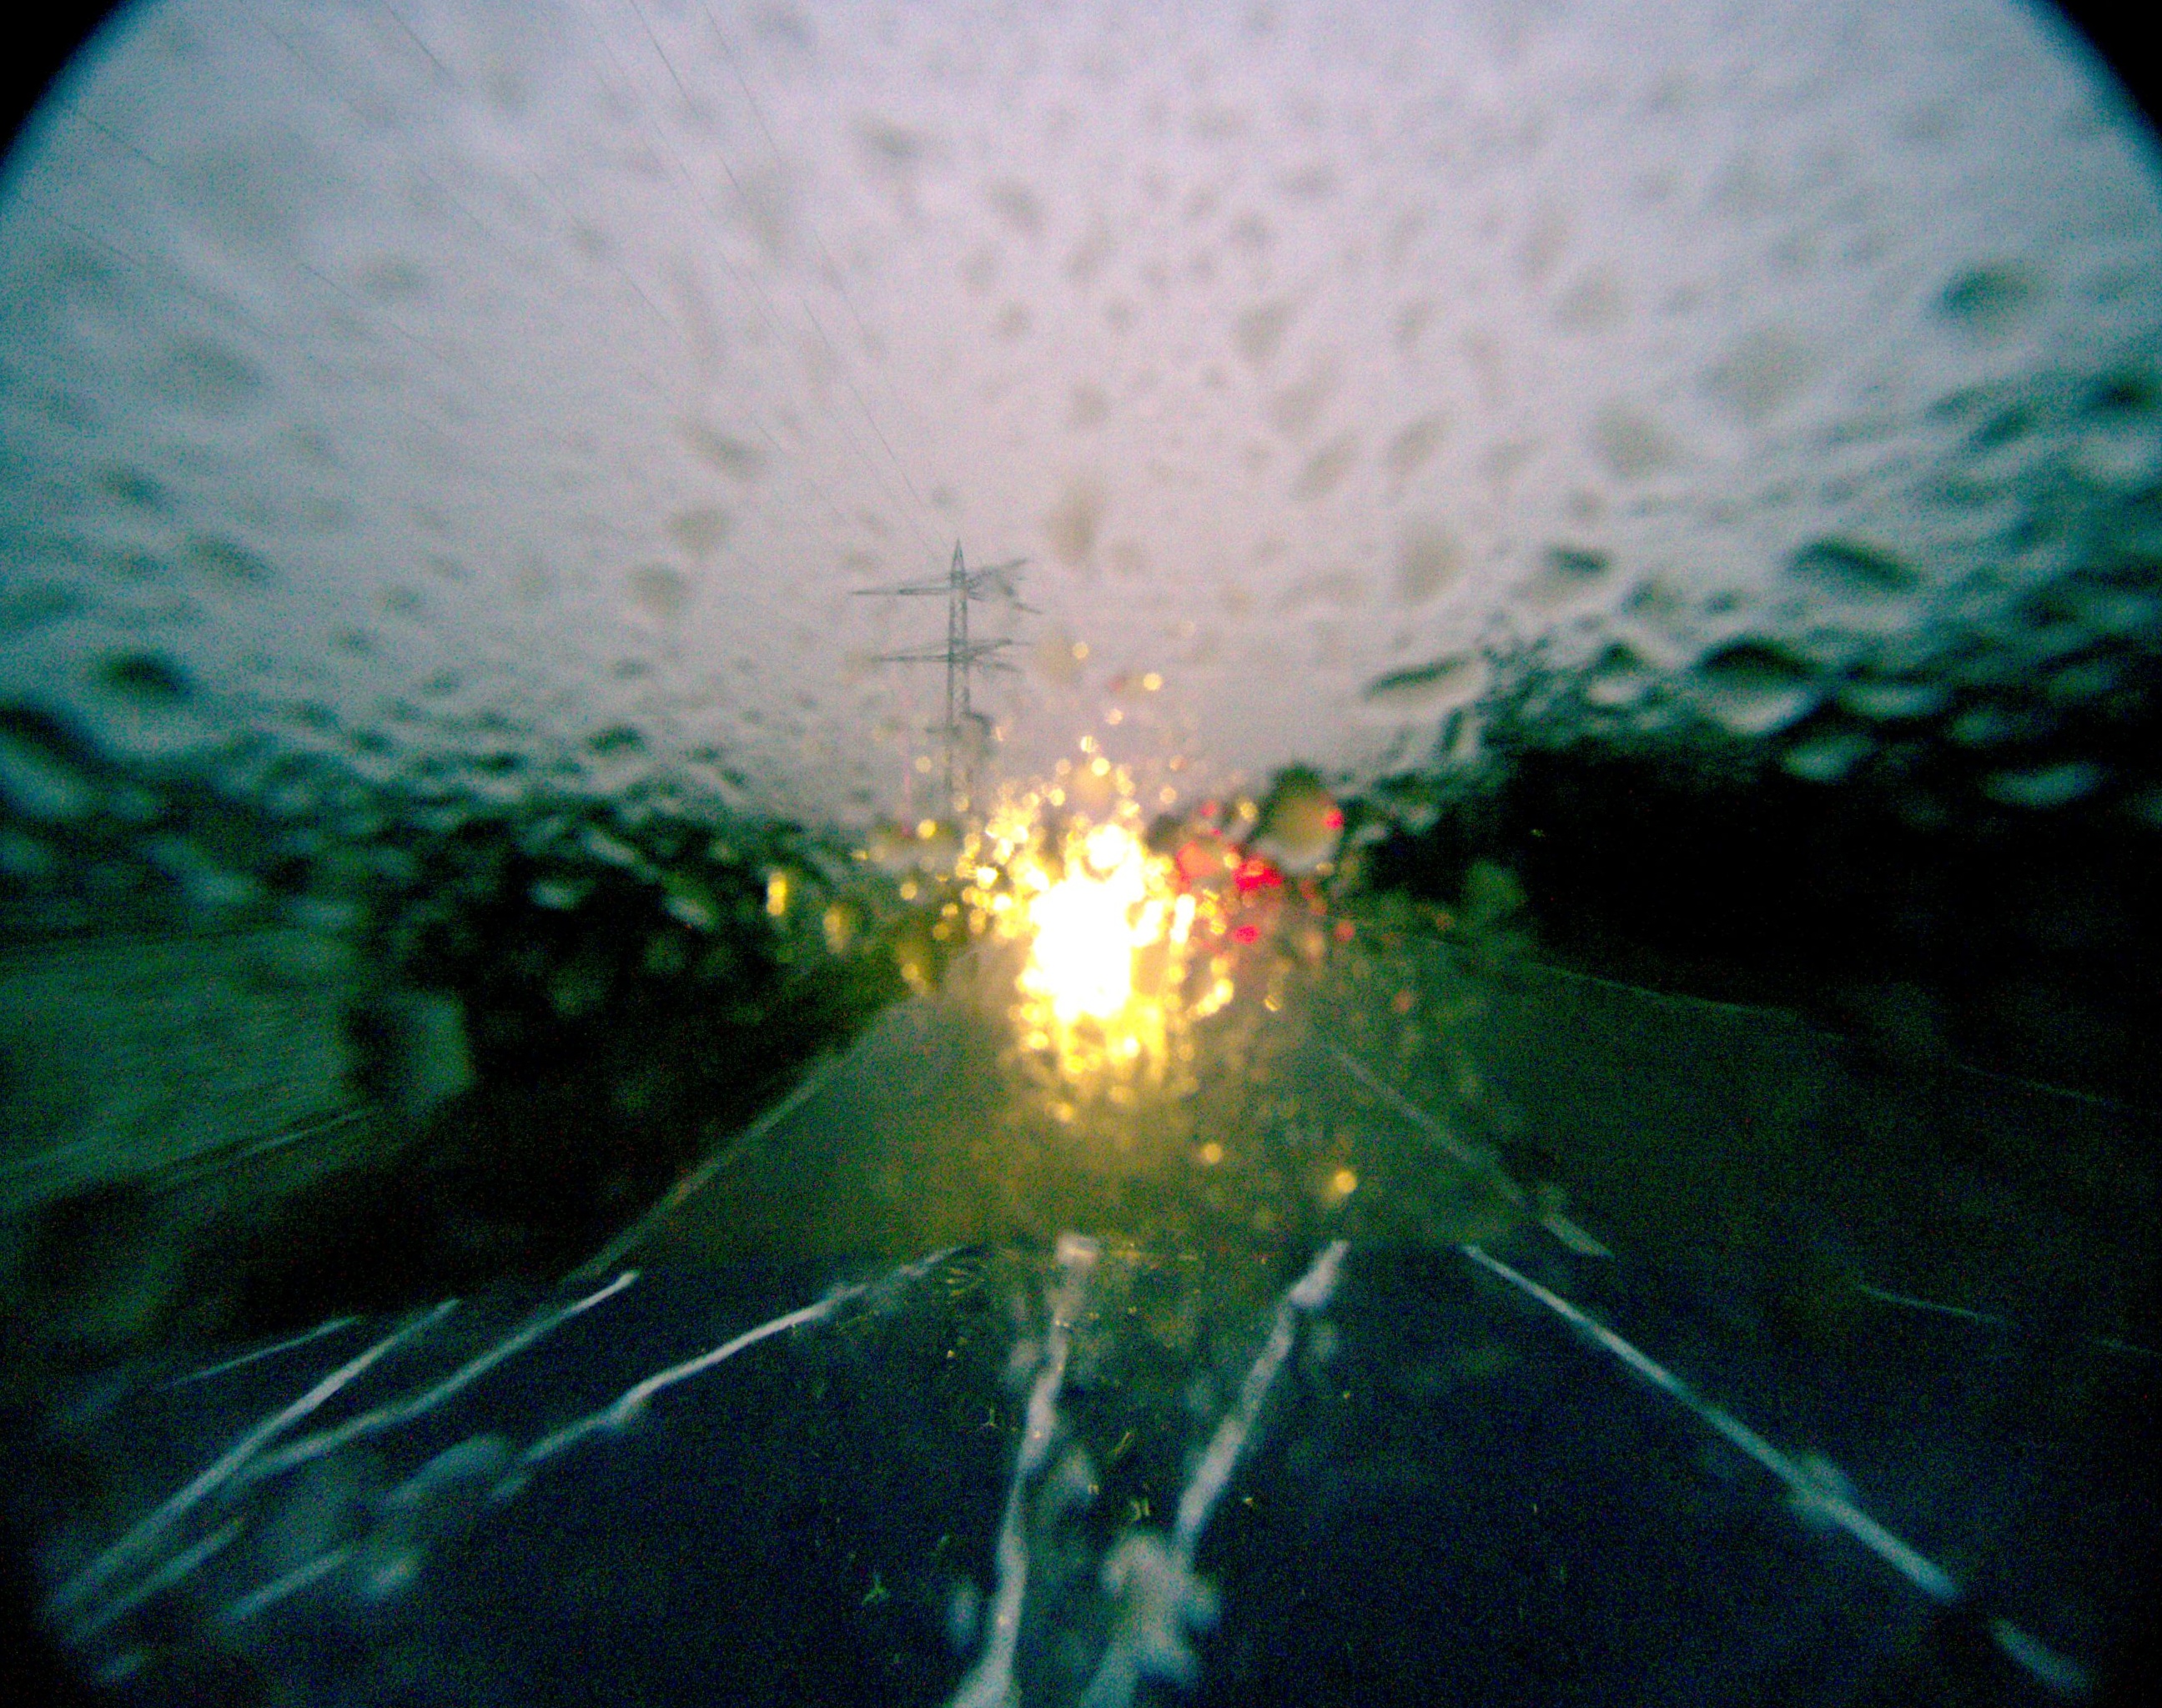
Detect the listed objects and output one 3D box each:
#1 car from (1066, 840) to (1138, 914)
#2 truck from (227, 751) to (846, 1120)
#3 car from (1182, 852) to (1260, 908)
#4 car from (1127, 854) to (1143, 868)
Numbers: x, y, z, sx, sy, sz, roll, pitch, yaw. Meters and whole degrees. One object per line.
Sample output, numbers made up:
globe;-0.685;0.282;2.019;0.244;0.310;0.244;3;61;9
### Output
car;0.557;0.643;23.377;1.857;2.002;3.999;-2;0;-2
truck;-5.699;0.657;10.204;2.540;2.960;7.857;-2;0;0
car;4.424;0.776;24.644;1.773;1.582;4.164;-2;0;1
car;6.633;0.878;94.240;1.676;1.621;3.976;-2;0;1
